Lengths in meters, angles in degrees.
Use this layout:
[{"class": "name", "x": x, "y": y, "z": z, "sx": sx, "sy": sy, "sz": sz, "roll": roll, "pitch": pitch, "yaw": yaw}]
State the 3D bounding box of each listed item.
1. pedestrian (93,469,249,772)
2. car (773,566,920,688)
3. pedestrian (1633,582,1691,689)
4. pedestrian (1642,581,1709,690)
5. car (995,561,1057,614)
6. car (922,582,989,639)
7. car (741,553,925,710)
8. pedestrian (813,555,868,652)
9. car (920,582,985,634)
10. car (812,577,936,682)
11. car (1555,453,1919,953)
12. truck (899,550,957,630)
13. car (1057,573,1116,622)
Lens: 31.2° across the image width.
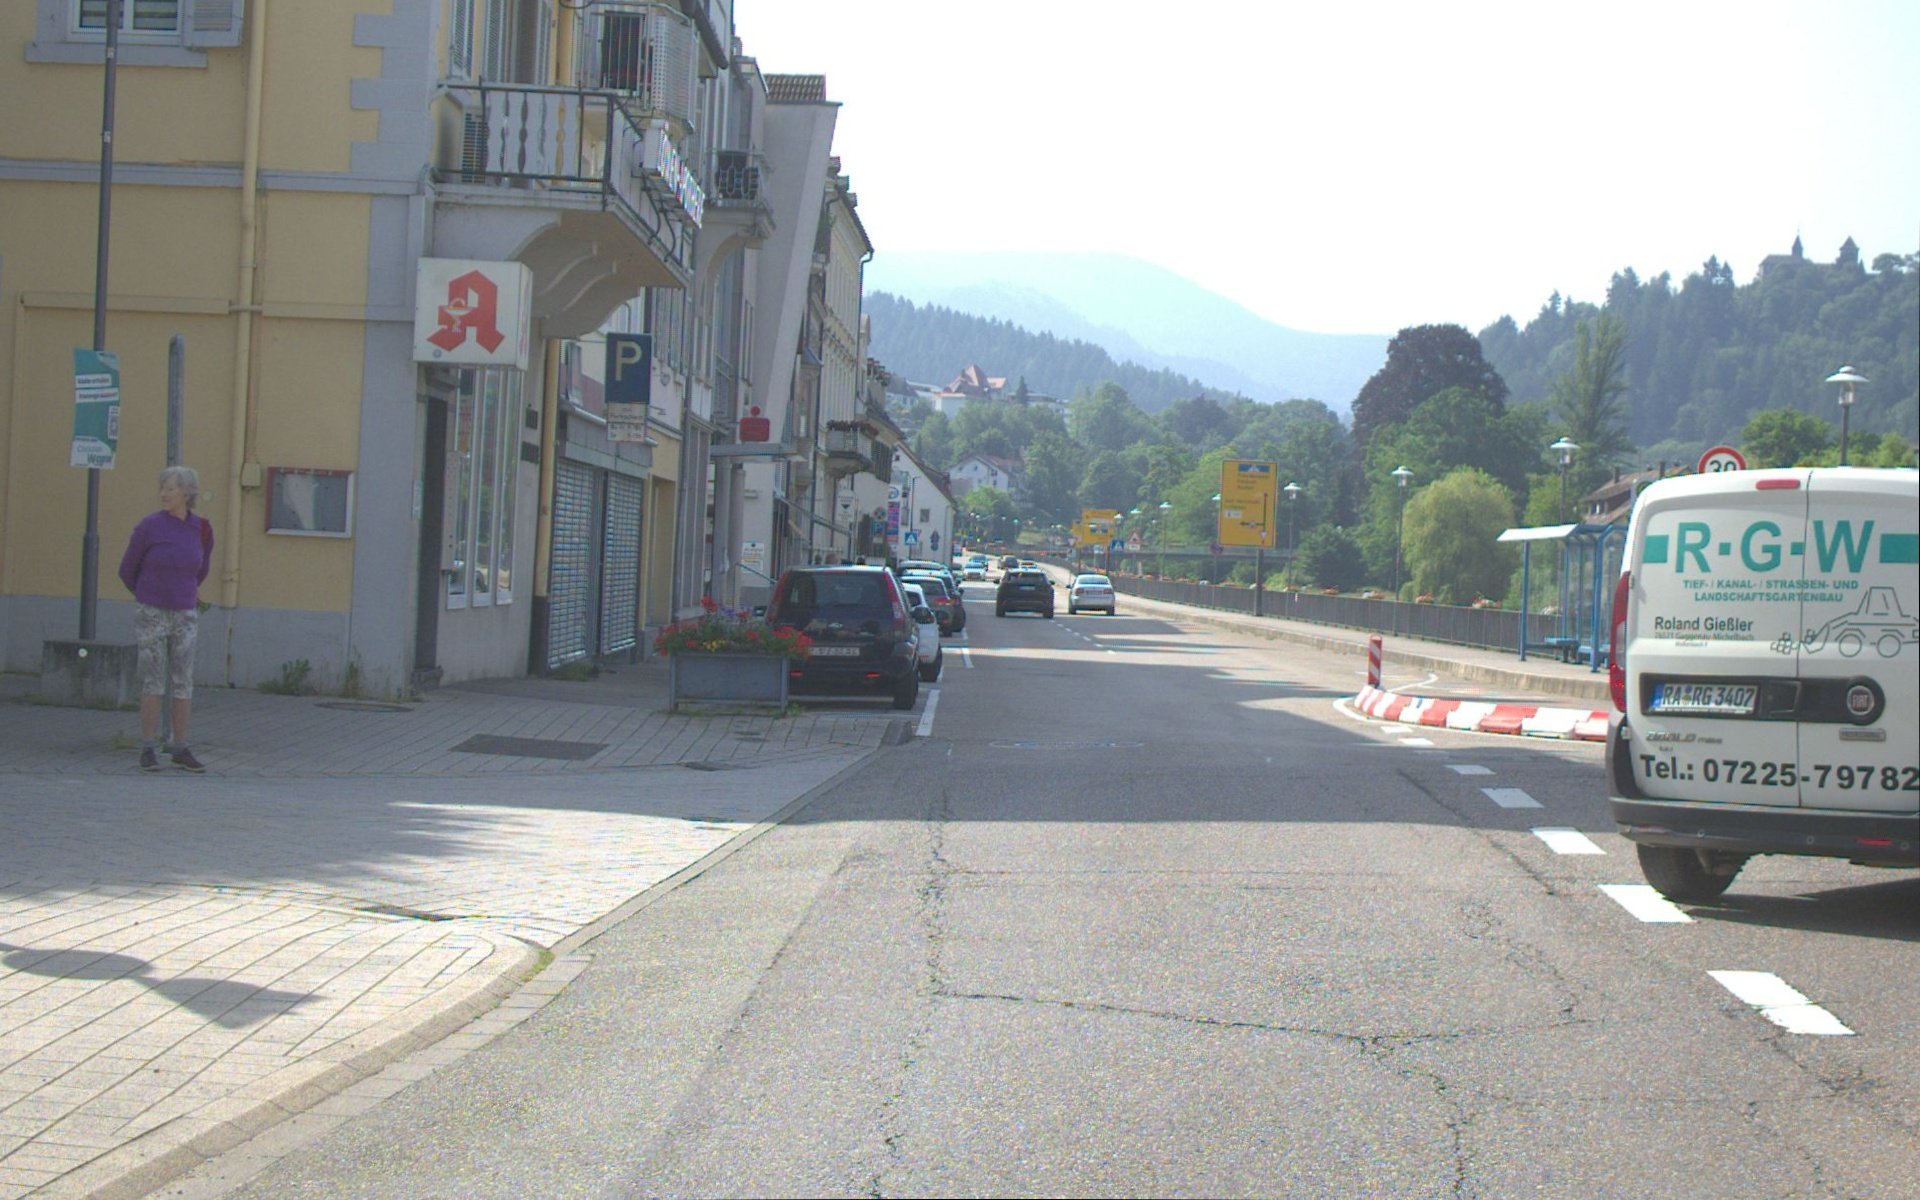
[{"class": "pedestrian", "x": -4.589, "y": 0.109, "z": 20.019, "sx": 0.678, "sy": 1.708, "sz": 0.617, "roll": 3, "pitch": 1, "yaw": 3}, {"class": "car", "x": -1.398, "y": 0.314, "z": 43.527, "sx": 1.747, "sy": 1.443, "sz": 3.276, "roll": 2, "pitch": 0, "yaw": -1}, {"class": "pedestrian", "x": 11.411, "y": 0.575, "z": 55.890, "sx": 0.789, "sy": 1.700, "sz": 0.491, "roll": 2, "pitch": 0, "yaw": 3}, {"class": "pedestrian", "x": 11.501, "y": 0.571, "z": 55.247, "sx": 0.867, "sy": 1.700, "sz": 0.777, "roll": 2, "pitch": 0, "yaw": 3}, {"class": "car", "x": 2.224, "y": -0.434, "z": 116.492, "sx": 1.993, "sy": 1.656, "sz": 4.000, "roll": 3, "pitch": 1, "yaw": 1}, {"class": "car", "x": -0.139, "y": 0.278, "z": 92.973, "sx": 1.747, "sy": 1.443, "sz": 3.276, "roll": 2, "pitch": 0, "yaw": -1}, {"class": "car", "x": -1.325, "y": 0.307, "z": 37.195, "sx": 1.846, "sy": 1.563, "sz": 3.568, "roll": 2, "pitch": 0, "yaw": -1}, {"class": "pedestrian", "x": -2.137, "y": 0.062, "z": 61.475, "sx": 0.690, "sy": 1.691, "sz": 0.658, "roll": 2, "pitch": 0, "yaw": 28}, {"class": "car", "x": -0.200, "y": 0.185, "z": 86.826, "sx": 1.563, "sy": 1.216, "sz": 3.276, "roll": 2, "pitch": 0, "yaw": -1}, {"class": "car", "x": -1.252, "y": 0.410, "z": 51.256, "sx": 1.747, "sy": 1.443, "sz": 3.795, "roll": 2, "pitch": 0, "yaw": -1}, {"class": "car", "x": 4.661, "y": 0.342, "z": 15.155, "sx": 1.849, "sy": 1.899, "sz": 4.303, "roll": 3, "pitch": 3, "yaw": 45}, {"class": "truck", "x": -1.025, "y": -0.336, "z": 109.624, "sx": 1.747, "sy": 2.459, "sz": 4.661, "roll": 2, "pitch": 0, "yaw": -1}, {"class": "car", "x": 4.669, "y": -0.114, "z": 127.425, "sx": 1.993, "sy": 1.656, "sz": 4.000, "roll": 3, "pitch": 1, "yaw": 1}]
